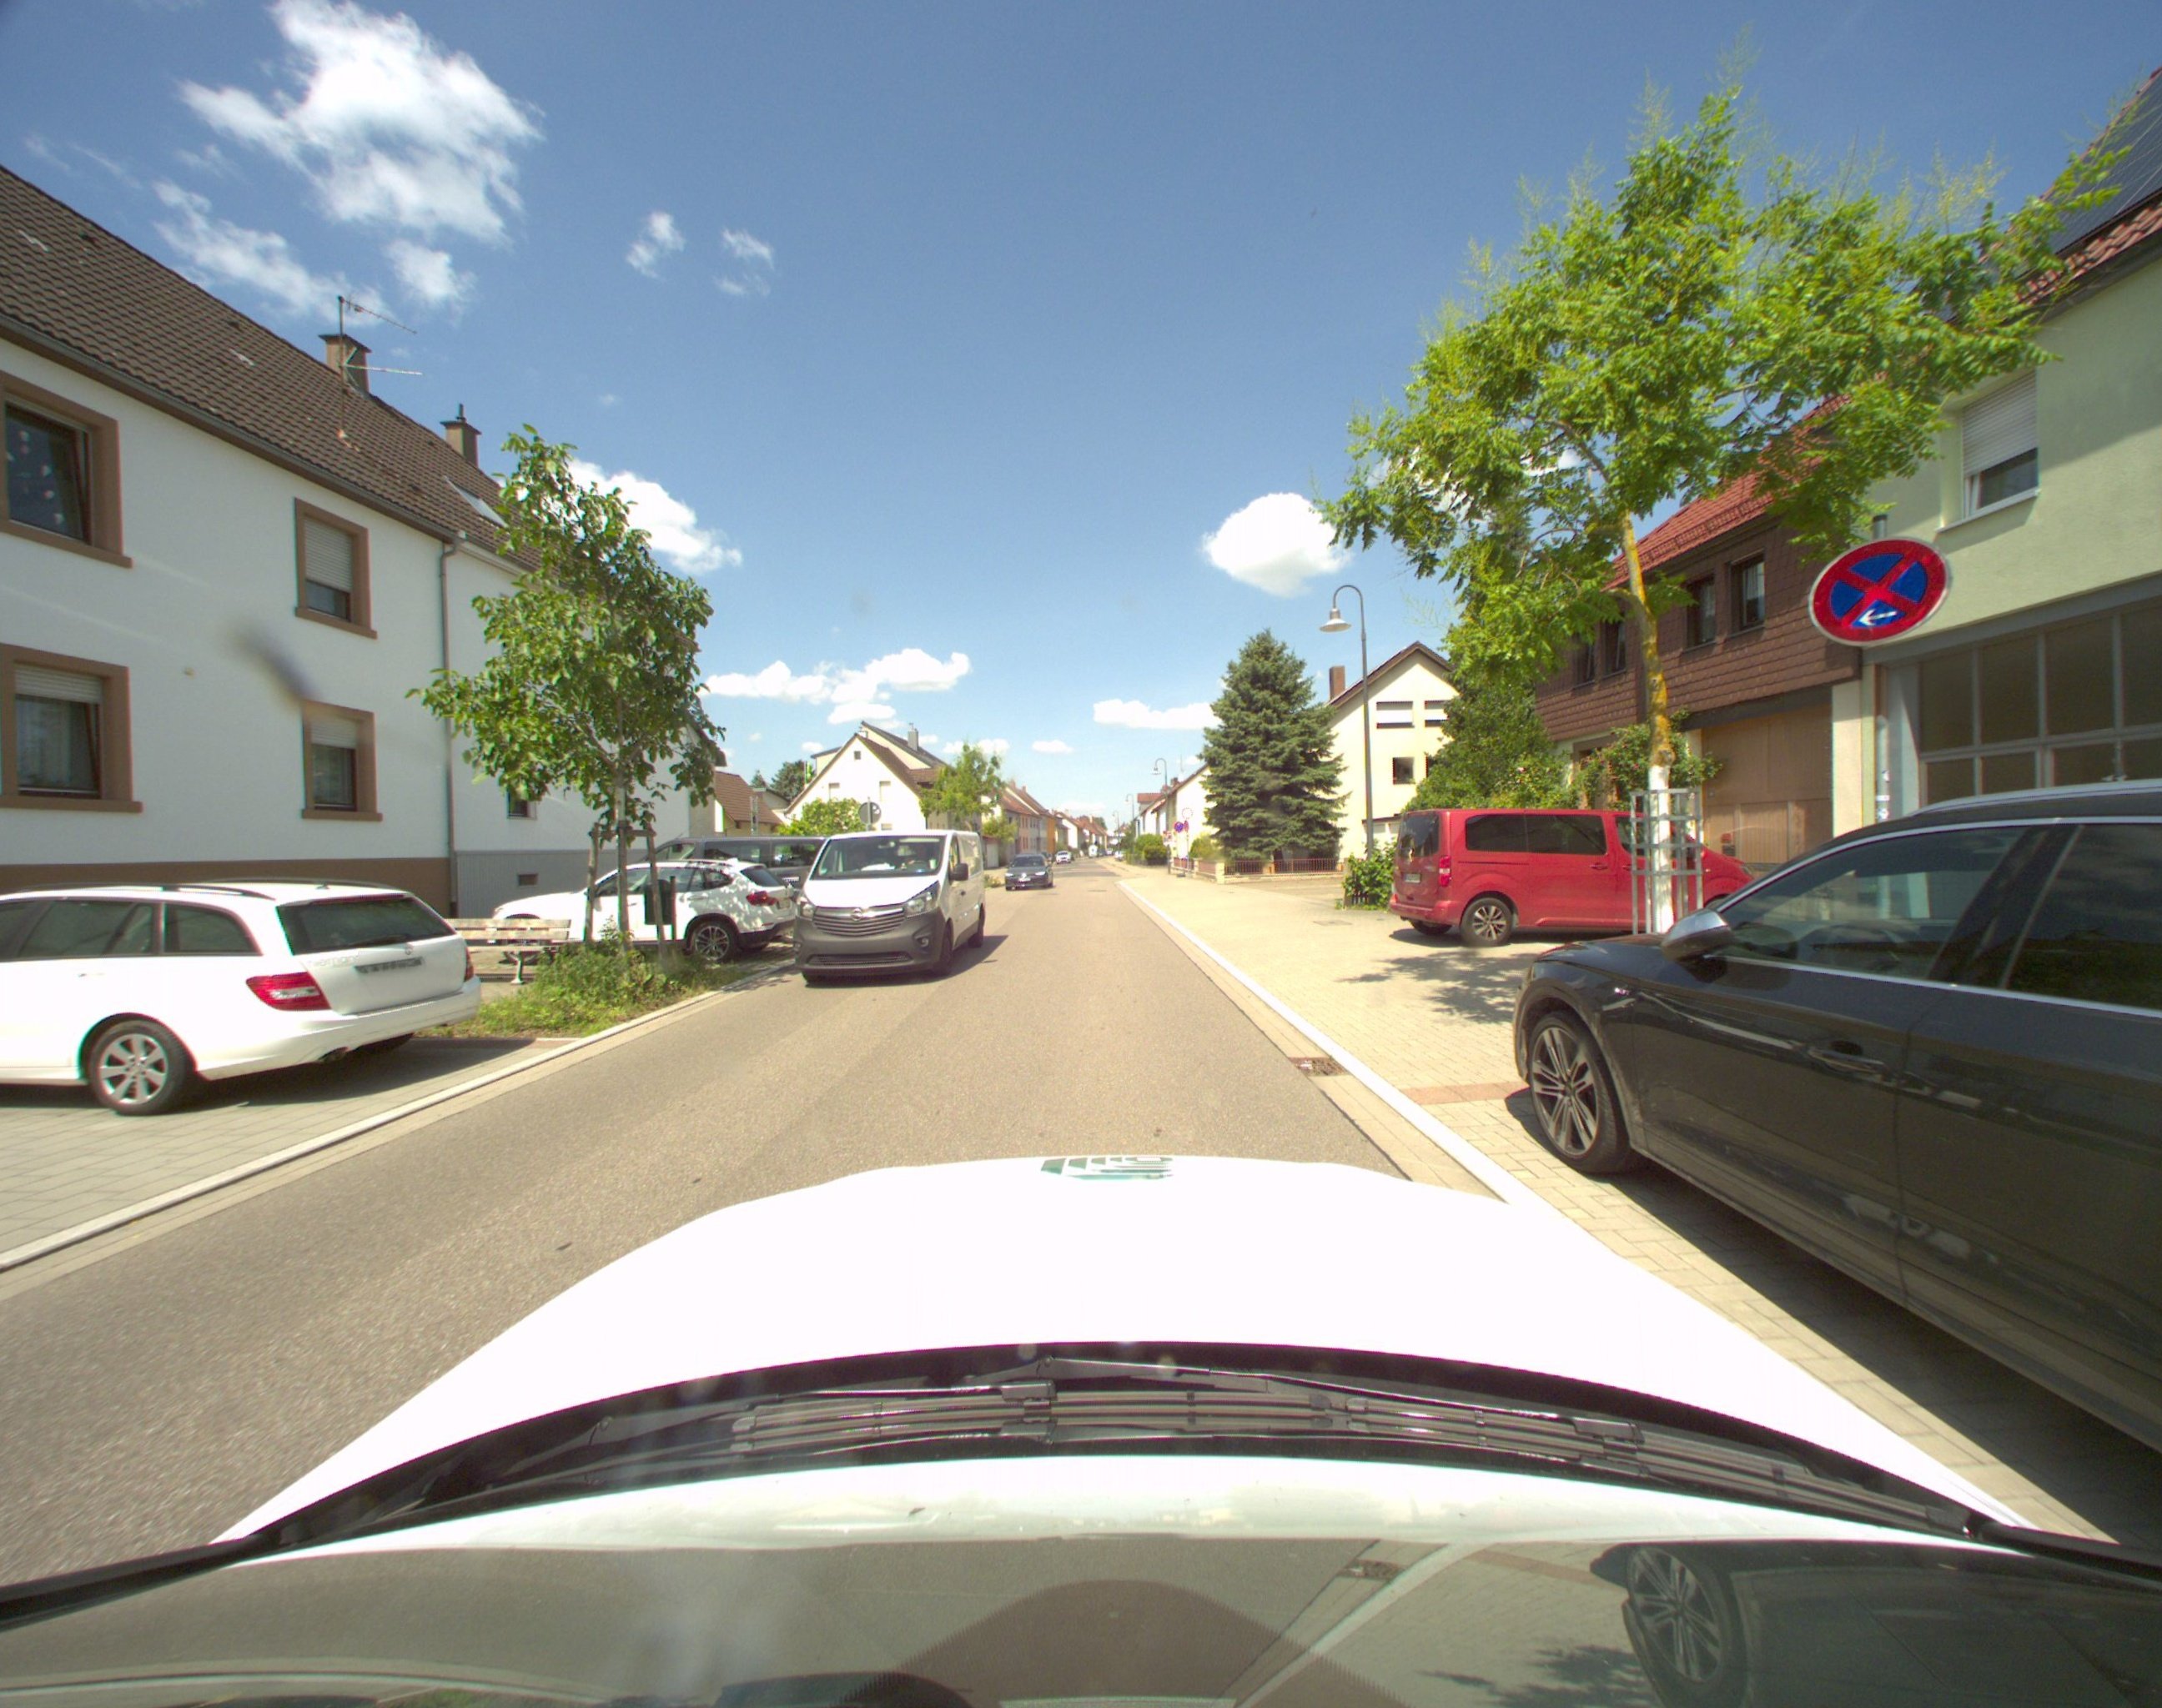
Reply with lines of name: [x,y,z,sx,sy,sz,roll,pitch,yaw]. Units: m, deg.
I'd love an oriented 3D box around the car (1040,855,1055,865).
car: [-4.434,0.800,108.636,1.665,1.336,3.725,1,0,3]

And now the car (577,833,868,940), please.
car: [-6.686,0.596,15.602,4.685,1.923,1.937,0,-1,0]

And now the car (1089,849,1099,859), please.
car: [2.827,0.017,179.631,2.036,2.312,3.775,0,-1,4]

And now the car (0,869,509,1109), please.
car: [-6.975,0.874,5.998,4.278,1.468,1.774,-1,-1,2]

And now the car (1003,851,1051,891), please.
car: [-2.279,0.697,35.337,1.757,1.523,4.048,-3,0,-1]

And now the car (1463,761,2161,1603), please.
car: [3.015,0.571,2.323,1.857,1.635,4.449,-4,1,3]

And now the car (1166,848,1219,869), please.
car: [8.923,0.364,65.301,3.973,1.473,1.746,-2,0,0]

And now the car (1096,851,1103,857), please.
car: [4.568,0.100,201.536,1.684,1.504,3.775,0,-1,4]

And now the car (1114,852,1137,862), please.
car: [6.905,0.461,125.469,3.511,1.464,1.628,0,-1,0]

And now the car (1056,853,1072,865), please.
car: [-2.228,0.642,109.619,1.842,1.659,4.003,1,0,3]

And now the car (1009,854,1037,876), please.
car: [-4.290,0.764,60.700,1.811,1.433,4.136,2,1,-2]

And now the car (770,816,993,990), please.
car: [-2.575,0.589,11.884,2.016,1.950,4.897,-2,-1,-1]

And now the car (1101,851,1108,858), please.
car: [5.967,0.167,209.009,1.684,1.660,3.775,0,-1,4]

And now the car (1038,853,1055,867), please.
car: [-4.068,0.648,96.465,1.804,1.609,4.000,1,0,1]

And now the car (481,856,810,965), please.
car: [-6.662,0.826,12.842,4.174,1.569,1.771,0,-1,-4]

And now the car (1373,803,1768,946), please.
car: [6.930,0.281,11.918,4.605,1.893,2.019,0,-1,-1]

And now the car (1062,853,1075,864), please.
car: [-1.972,0.712,130.635,1.842,1.659,4.003,1,0,3]
